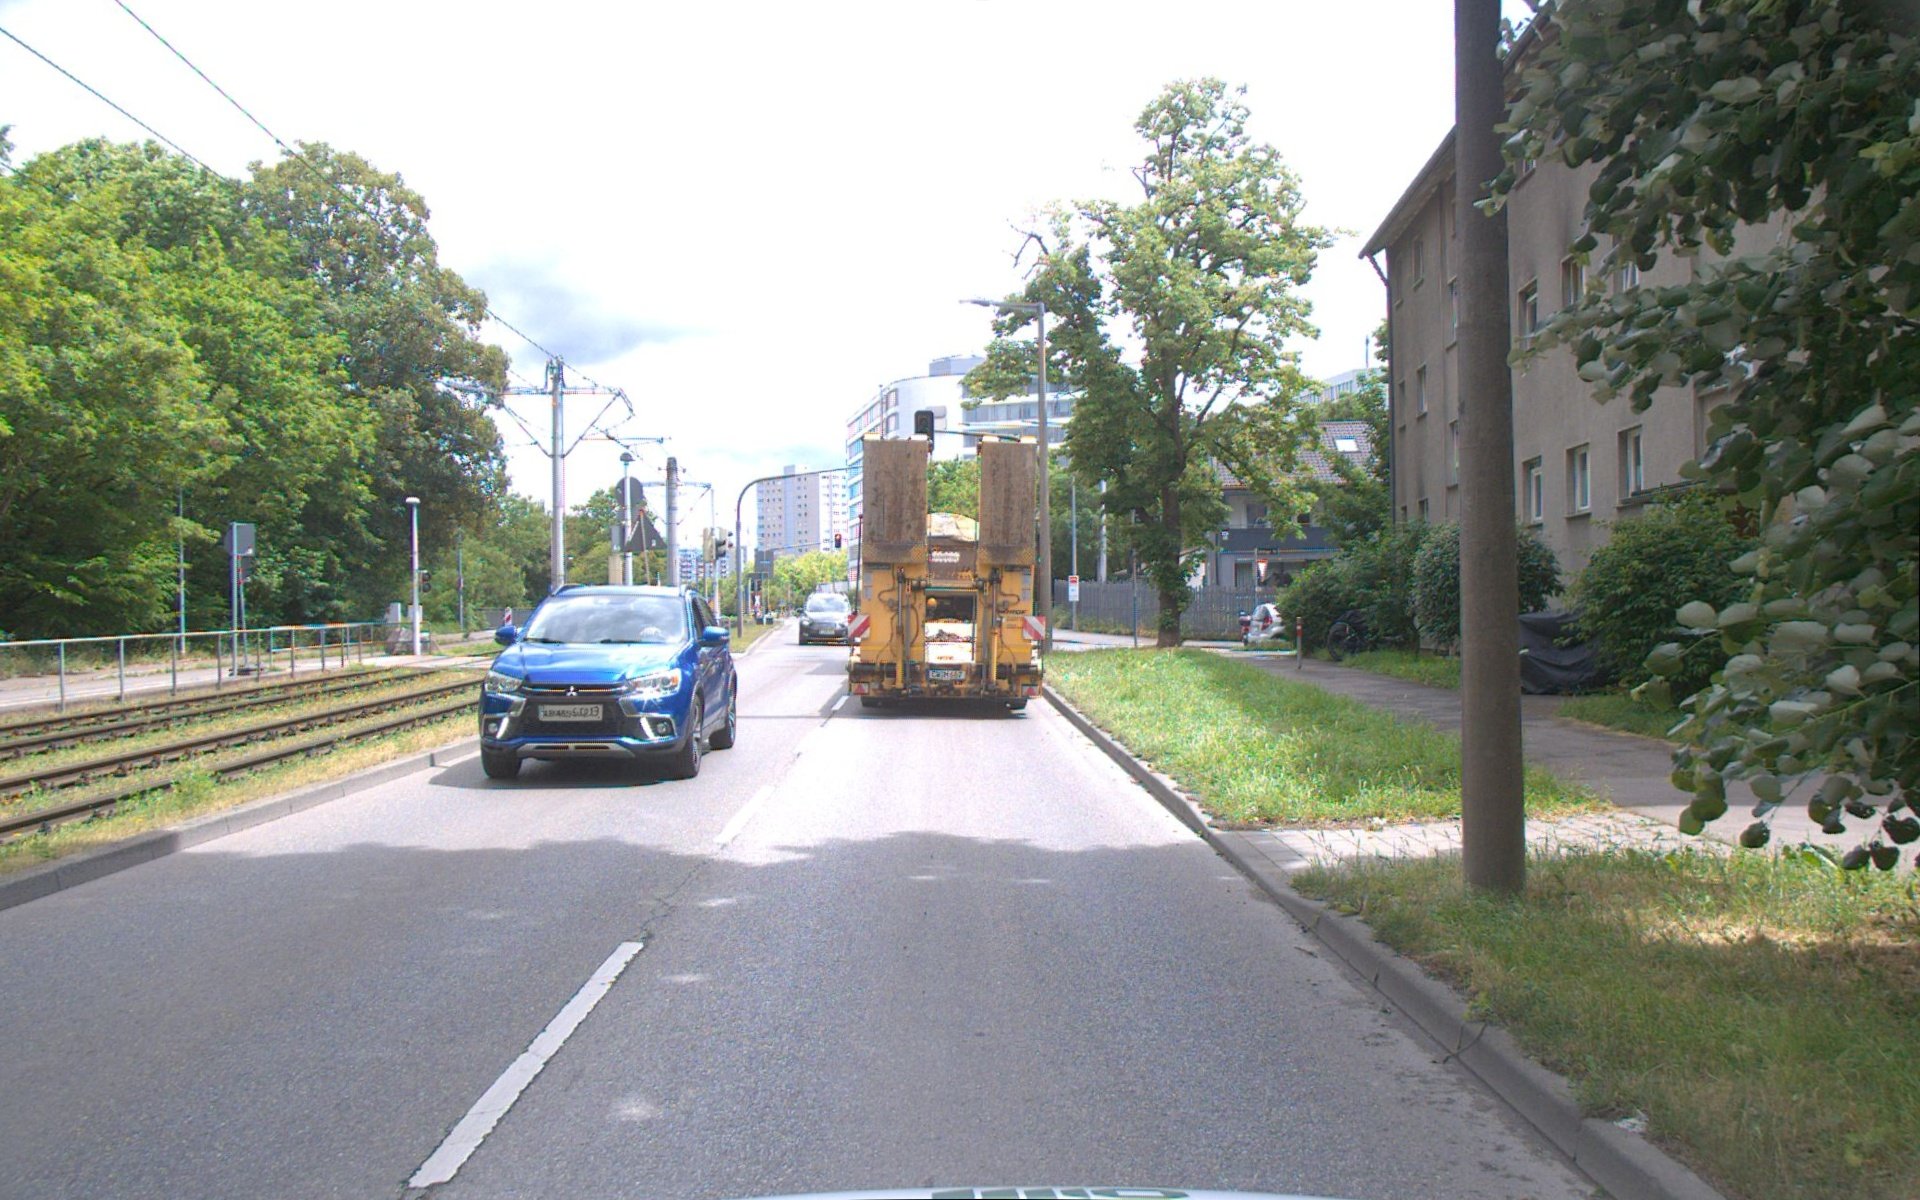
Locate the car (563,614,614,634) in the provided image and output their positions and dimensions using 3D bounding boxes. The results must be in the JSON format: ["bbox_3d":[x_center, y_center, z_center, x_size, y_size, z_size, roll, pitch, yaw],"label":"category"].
[{"bbox_3d":[-30.204,1.953,134.602,3.915,1.579,1.995,1,-1,-11],"label":"car"}]

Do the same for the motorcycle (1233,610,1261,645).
[{"bbox_3d":[10.025,0.959,57.695,0.645,1.169,2.426,0,-1,17],"label":"motorcycle"}]

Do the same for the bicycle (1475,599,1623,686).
[{"bbox_3d":[7.726,0.552,21.721,1.760,1.104,0.455,-1,0,4],"label":"bicycle"}]

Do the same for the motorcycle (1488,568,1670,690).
[{"bbox_3d":[7.712,0.356,20.708,1.954,1.454,1.018,-1,0,9],"label":"motorcycle"}]

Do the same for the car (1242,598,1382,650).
[{"bbox_3d":[11.026,0.738,51.926,3.913,1.581,1.935,0,0,-9],"label":"car"}]

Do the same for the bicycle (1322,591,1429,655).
[{"bbox_3d":[8.839,0.496,35.269,2.121,1.305,0.681,-1,-1,7],"label":"bicycle"}]

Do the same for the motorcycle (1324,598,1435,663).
[{"bbox_3d":[8.750,0.631,34.557,2.157,1.305,0.681,-1,-1,7],"label":"motorcycle"}]

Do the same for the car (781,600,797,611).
[{"bbox_3d":[-22.097,0.691,213.344,1.956,1.445,3.993,1,-1,-8],"label":"car"}]

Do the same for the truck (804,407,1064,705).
[{"bbox_3d":[-0.578,-0.479,26.957,3.249,3.715,12.555,0,-1,-2],"label":"truck"}]

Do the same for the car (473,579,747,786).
[{"bbox_3d":[-2.990,0.624,14.950,1.678,1.594,4.165,1,0,-2],"label":"car"}]

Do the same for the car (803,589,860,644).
[{"bbox_3d":[-4.153,0.530,53.864,1.673,1.705,4.226,1,0,-3],"label":"car"}]
